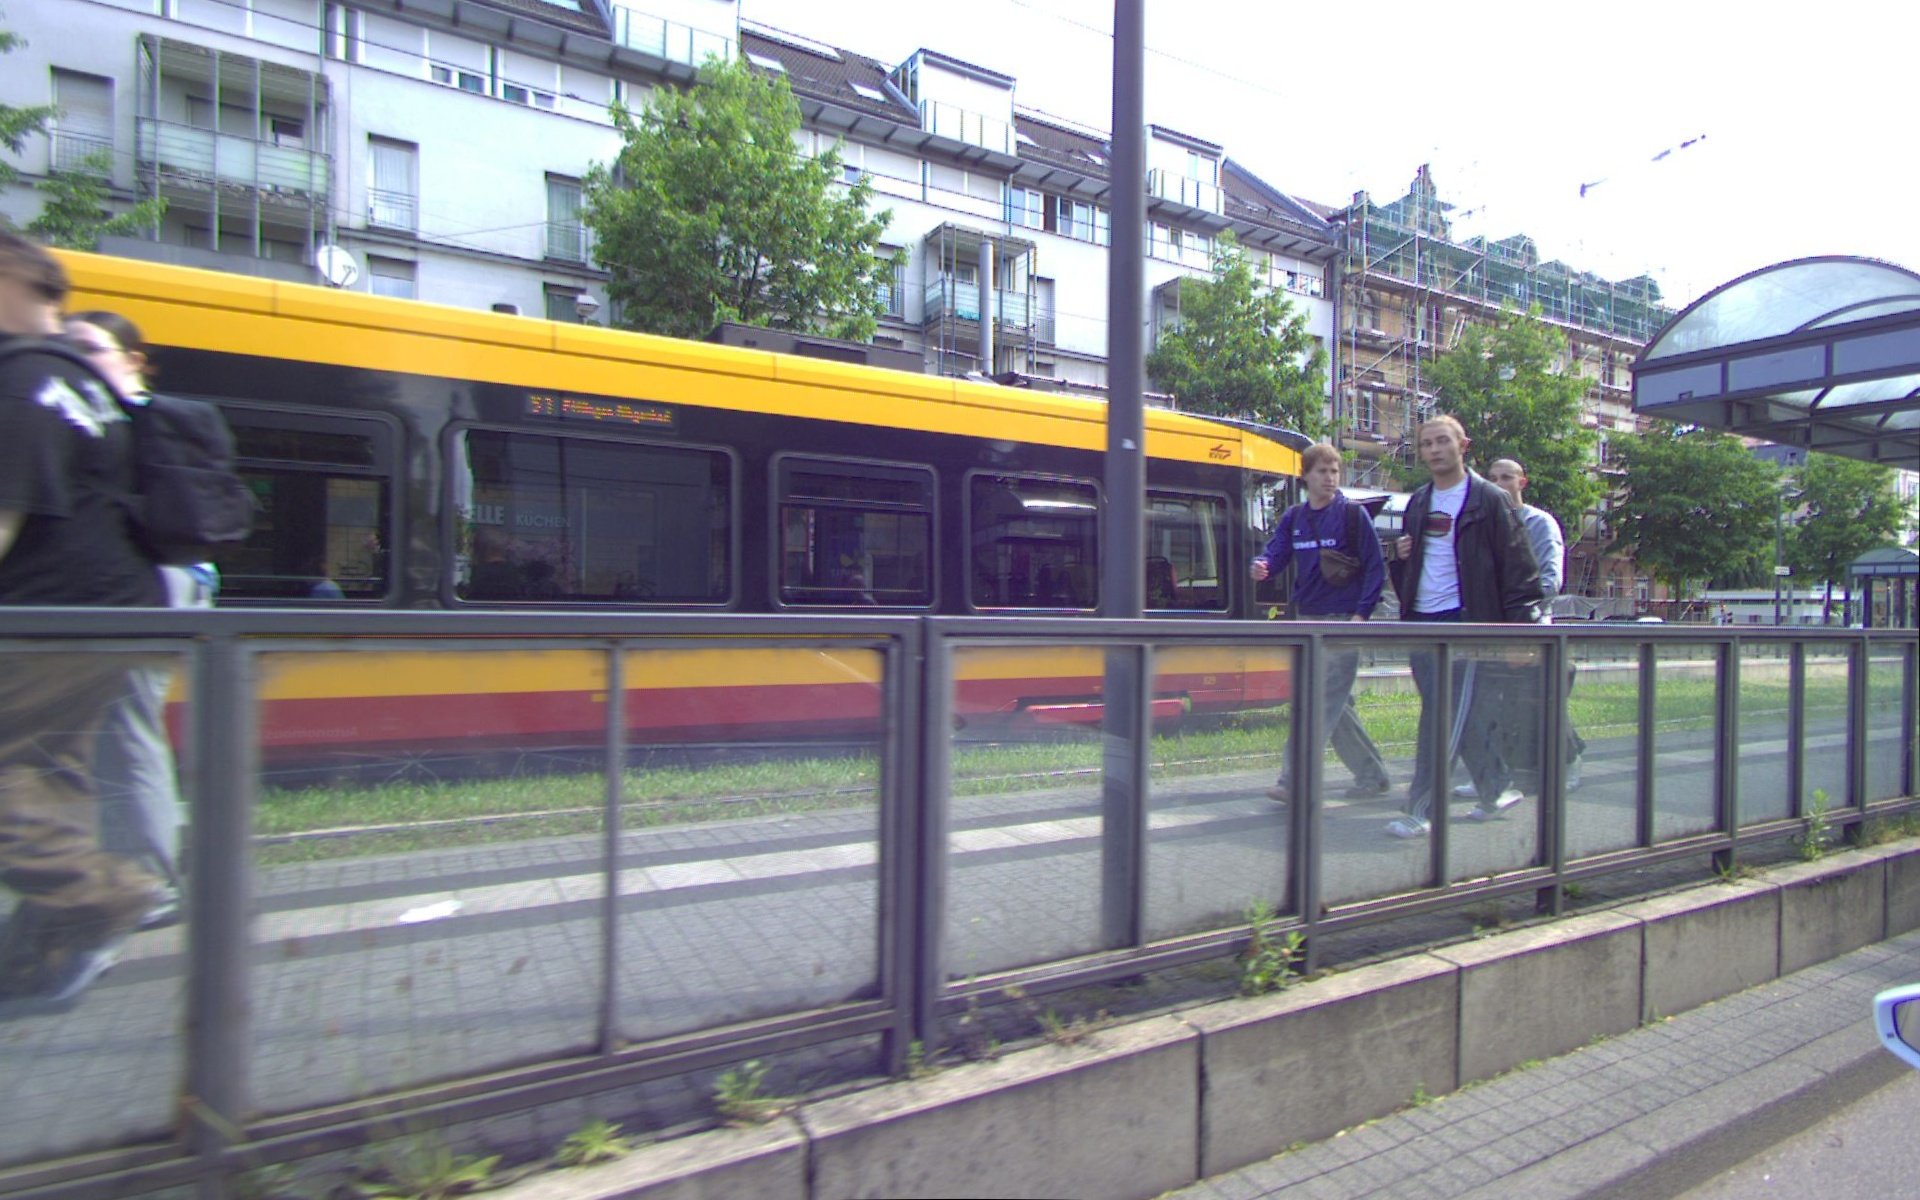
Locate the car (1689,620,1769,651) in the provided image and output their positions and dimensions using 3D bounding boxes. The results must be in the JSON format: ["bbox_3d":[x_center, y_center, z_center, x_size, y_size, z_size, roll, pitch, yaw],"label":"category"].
[{"bbox_3d":[36.037,1.653,47.057,3.660,1.390,1.711,1,-1,-30],"label":"car"}]

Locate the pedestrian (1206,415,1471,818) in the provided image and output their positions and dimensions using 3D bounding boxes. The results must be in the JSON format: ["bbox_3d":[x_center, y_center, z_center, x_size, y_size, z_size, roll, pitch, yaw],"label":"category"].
[{"bbox_3d":[1.933,0.082,5.137,1.119,1.825,0.708,1,0,-30],"label":"pedestrian"}]

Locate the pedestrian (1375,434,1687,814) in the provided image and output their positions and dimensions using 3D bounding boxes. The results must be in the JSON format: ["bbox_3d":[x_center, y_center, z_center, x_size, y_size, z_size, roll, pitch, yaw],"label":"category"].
[{"bbox_3d":[3.172,0.124,5.581,1.477,1.825,0.882,1,0,-30],"label":"pedestrian"}]

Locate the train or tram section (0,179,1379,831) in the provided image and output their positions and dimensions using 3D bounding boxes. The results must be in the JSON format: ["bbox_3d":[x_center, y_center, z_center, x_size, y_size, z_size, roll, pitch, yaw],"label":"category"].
[{"bbox_3d":[-1.491,-0.451,9.394,12.860,3.632,2.711,1,0,-30],"label":"train or tram section"}]

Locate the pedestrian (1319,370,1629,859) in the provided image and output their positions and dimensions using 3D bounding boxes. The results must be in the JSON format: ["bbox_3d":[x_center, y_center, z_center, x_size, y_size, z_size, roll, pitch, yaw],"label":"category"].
[{"bbox_3d":[2.293,0.064,4.510,1.019,1.897,0.806,1,0,-30],"label":"pedestrian"}]

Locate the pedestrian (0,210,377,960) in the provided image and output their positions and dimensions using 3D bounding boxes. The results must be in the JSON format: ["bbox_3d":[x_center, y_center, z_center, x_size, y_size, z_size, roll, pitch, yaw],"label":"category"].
[{"bbox_3d":[-2.273,-0.030,2.986,0.897,1.874,0.698,1,0,-30],"label":"pedestrian"}]

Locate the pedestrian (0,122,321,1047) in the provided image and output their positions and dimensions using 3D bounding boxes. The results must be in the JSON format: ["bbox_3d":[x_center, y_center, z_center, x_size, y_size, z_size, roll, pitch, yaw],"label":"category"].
[{"bbox_3d":[-2.023,-0.028,2.394,0.780,1.874,0.698,1,0,-30],"label":"pedestrian"}]
